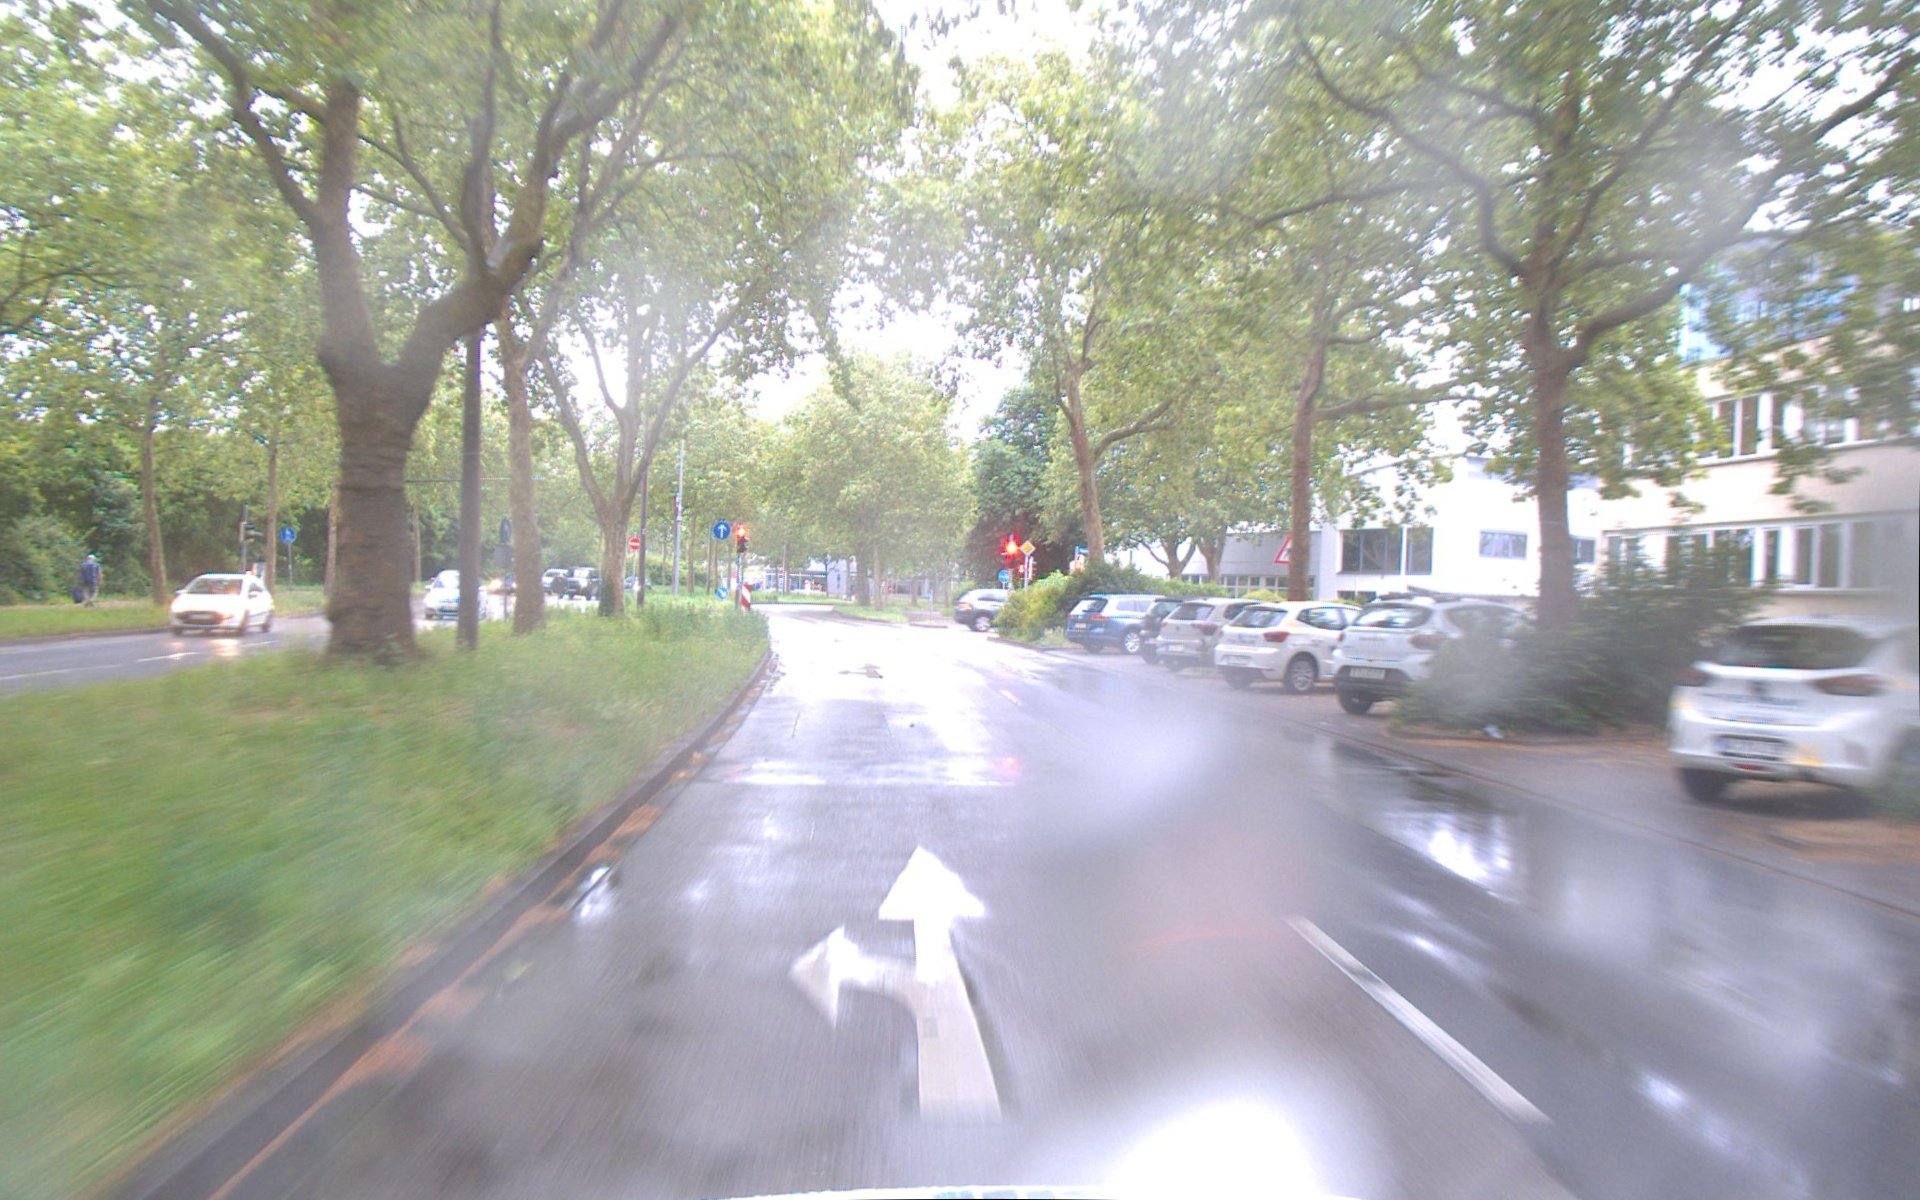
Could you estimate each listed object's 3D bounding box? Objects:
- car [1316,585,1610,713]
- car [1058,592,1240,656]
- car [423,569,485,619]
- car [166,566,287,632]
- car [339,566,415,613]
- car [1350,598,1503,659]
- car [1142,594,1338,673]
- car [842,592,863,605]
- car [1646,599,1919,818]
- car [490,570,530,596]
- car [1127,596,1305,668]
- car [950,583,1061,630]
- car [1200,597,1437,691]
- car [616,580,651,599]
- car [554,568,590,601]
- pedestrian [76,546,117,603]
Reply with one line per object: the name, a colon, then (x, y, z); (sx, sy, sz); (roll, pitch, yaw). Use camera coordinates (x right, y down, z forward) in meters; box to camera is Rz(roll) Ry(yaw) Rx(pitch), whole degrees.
car: (6.836, 0.658, 22.345); (3.992, 1.566, 1.727); (2, 0, -36)
car: (4.825, 0.614, 42.068); (4.434, 1.484, 1.731); (2, 0, -31)
car: (-17.570, -0.211, 57.566); (1.713, 1.619, 4.316); (2, 0, -13)
car: (-18.310, -0.026, 41.462); (1.711, 1.502, 4.074); (2, 0, -9)
car: (-21.560, -0.389, 61.323); (1.710, 1.619, 4.203); (2, 0, -7)
car: (15.131, 0.921, 53.728); (4.456, 1.788, 1.776); (2, 0, -11)
car: (5.610, 0.678, 33.029); (3.648, 1.441, 1.755); (2, 0, -34)
car: (-12.208, -0.145, 188.050); (1.553, 1.397, 4.265); (2, 0, 7)
car: (7.377, 0.797, 13.021); (3.989, 1.453, 1.729); (2, 0, -34)
car: (-26.982, -1.003, 99.298); (1.710, 1.502, 4.227); (2, 0, -8)
car: (5.635, 0.714, 36.314); (3.648, 1.441, 1.728); (2, 0, -34)
car: (1.772, 0.273, 65.391); (4.206, 1.679, 1.748); (2, 0, -3)
car: (5.970, 0.736, 27.494); (3.642, 1.441, 1.731); (2, 0, -31)
car: (-25.665, -0.816, 130.057); (1.554, 1.397, 4.264); (2, 0, 5)
car: (-23.659, -0.914, 100.938); (1.711, 1.874, 5.109); (2, 0, -9)
pedestrian: (-26.456, -0.768, 50.698); (0.815, 1.703, 0.898); (2, 0, -9)
